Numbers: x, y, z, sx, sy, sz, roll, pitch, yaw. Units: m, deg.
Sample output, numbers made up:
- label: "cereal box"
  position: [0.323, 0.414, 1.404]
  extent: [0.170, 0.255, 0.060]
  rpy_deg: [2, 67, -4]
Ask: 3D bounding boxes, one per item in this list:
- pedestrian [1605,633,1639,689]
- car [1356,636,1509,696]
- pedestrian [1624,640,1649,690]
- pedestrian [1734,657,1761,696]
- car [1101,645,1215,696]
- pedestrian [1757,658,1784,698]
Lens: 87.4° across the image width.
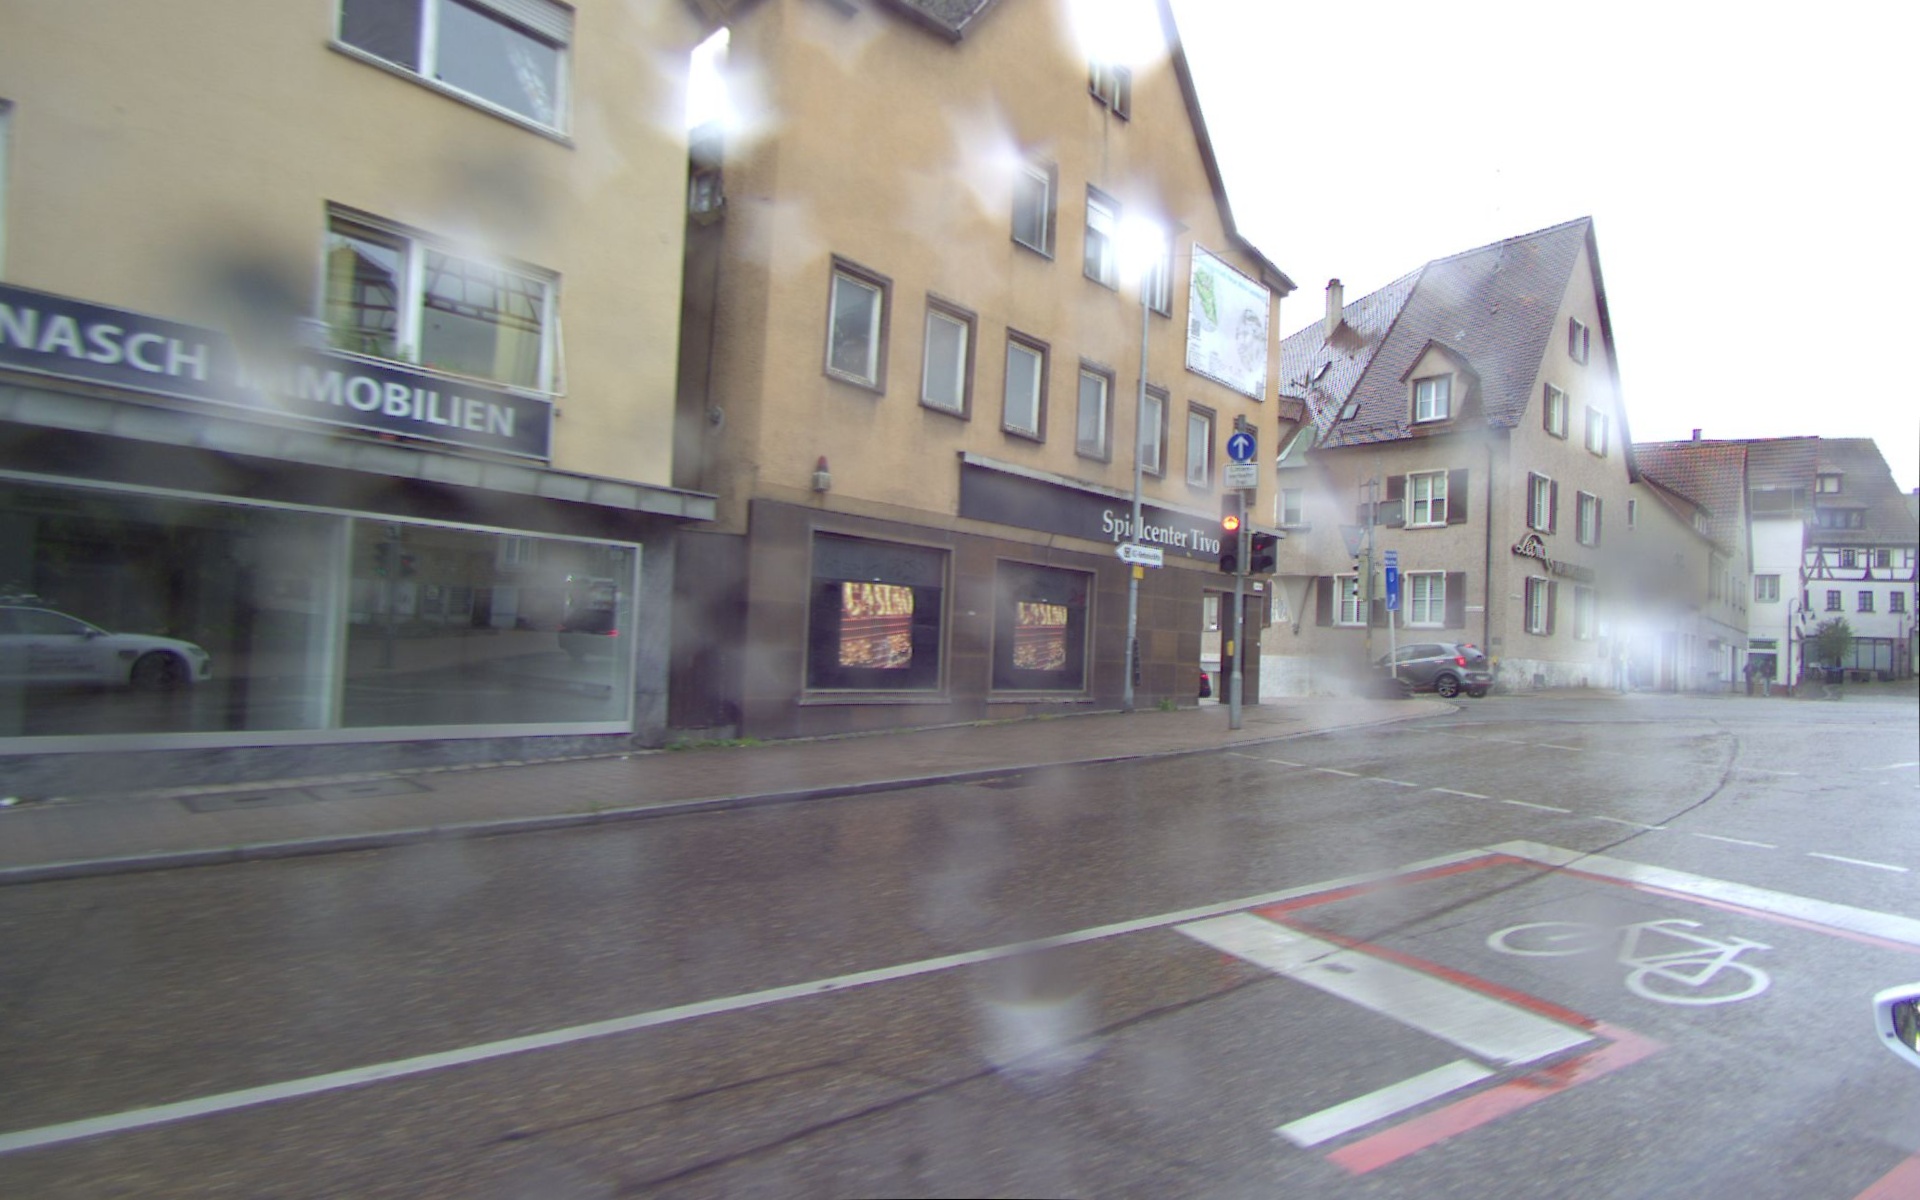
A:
- label: "pedestrian"
  position: [22.659, 2.097, 34.396]
  extent: [0.785, 1.854, 0.713]
  rpy_deg: [-4, -4, 30]
- label: "car"
  position: [12.640, 1.763, 27.015]
  extent: [1.521, 1.496, 3.356]
  rpy_deg: [1, -4, -37]
- label: "pedestrian"
  position: [23.880, 2.290, 35.458]
  extent: [0.532, 1.751, 0.550]
  rpy_deg: [4, -3, -35]
- label: "pedestrian"
  position: [36.030, 3.512, 45.950]
  extent: [0.626, 1.754, 0.772]
  rpy_deg: [1, -4, -41]
- label: "car"
  position: [7.156, 2.524, 36.811]
  extent: [1.804, 1.609, 4.724]
  rpy_deg: [1, -1, -22]
- label: "pedestrian"
  position: [36.555, 3.500, 45.319]
  extent: [0.626, 1.754, 0.772]
  rpy_deg: [1, -4, -41]
